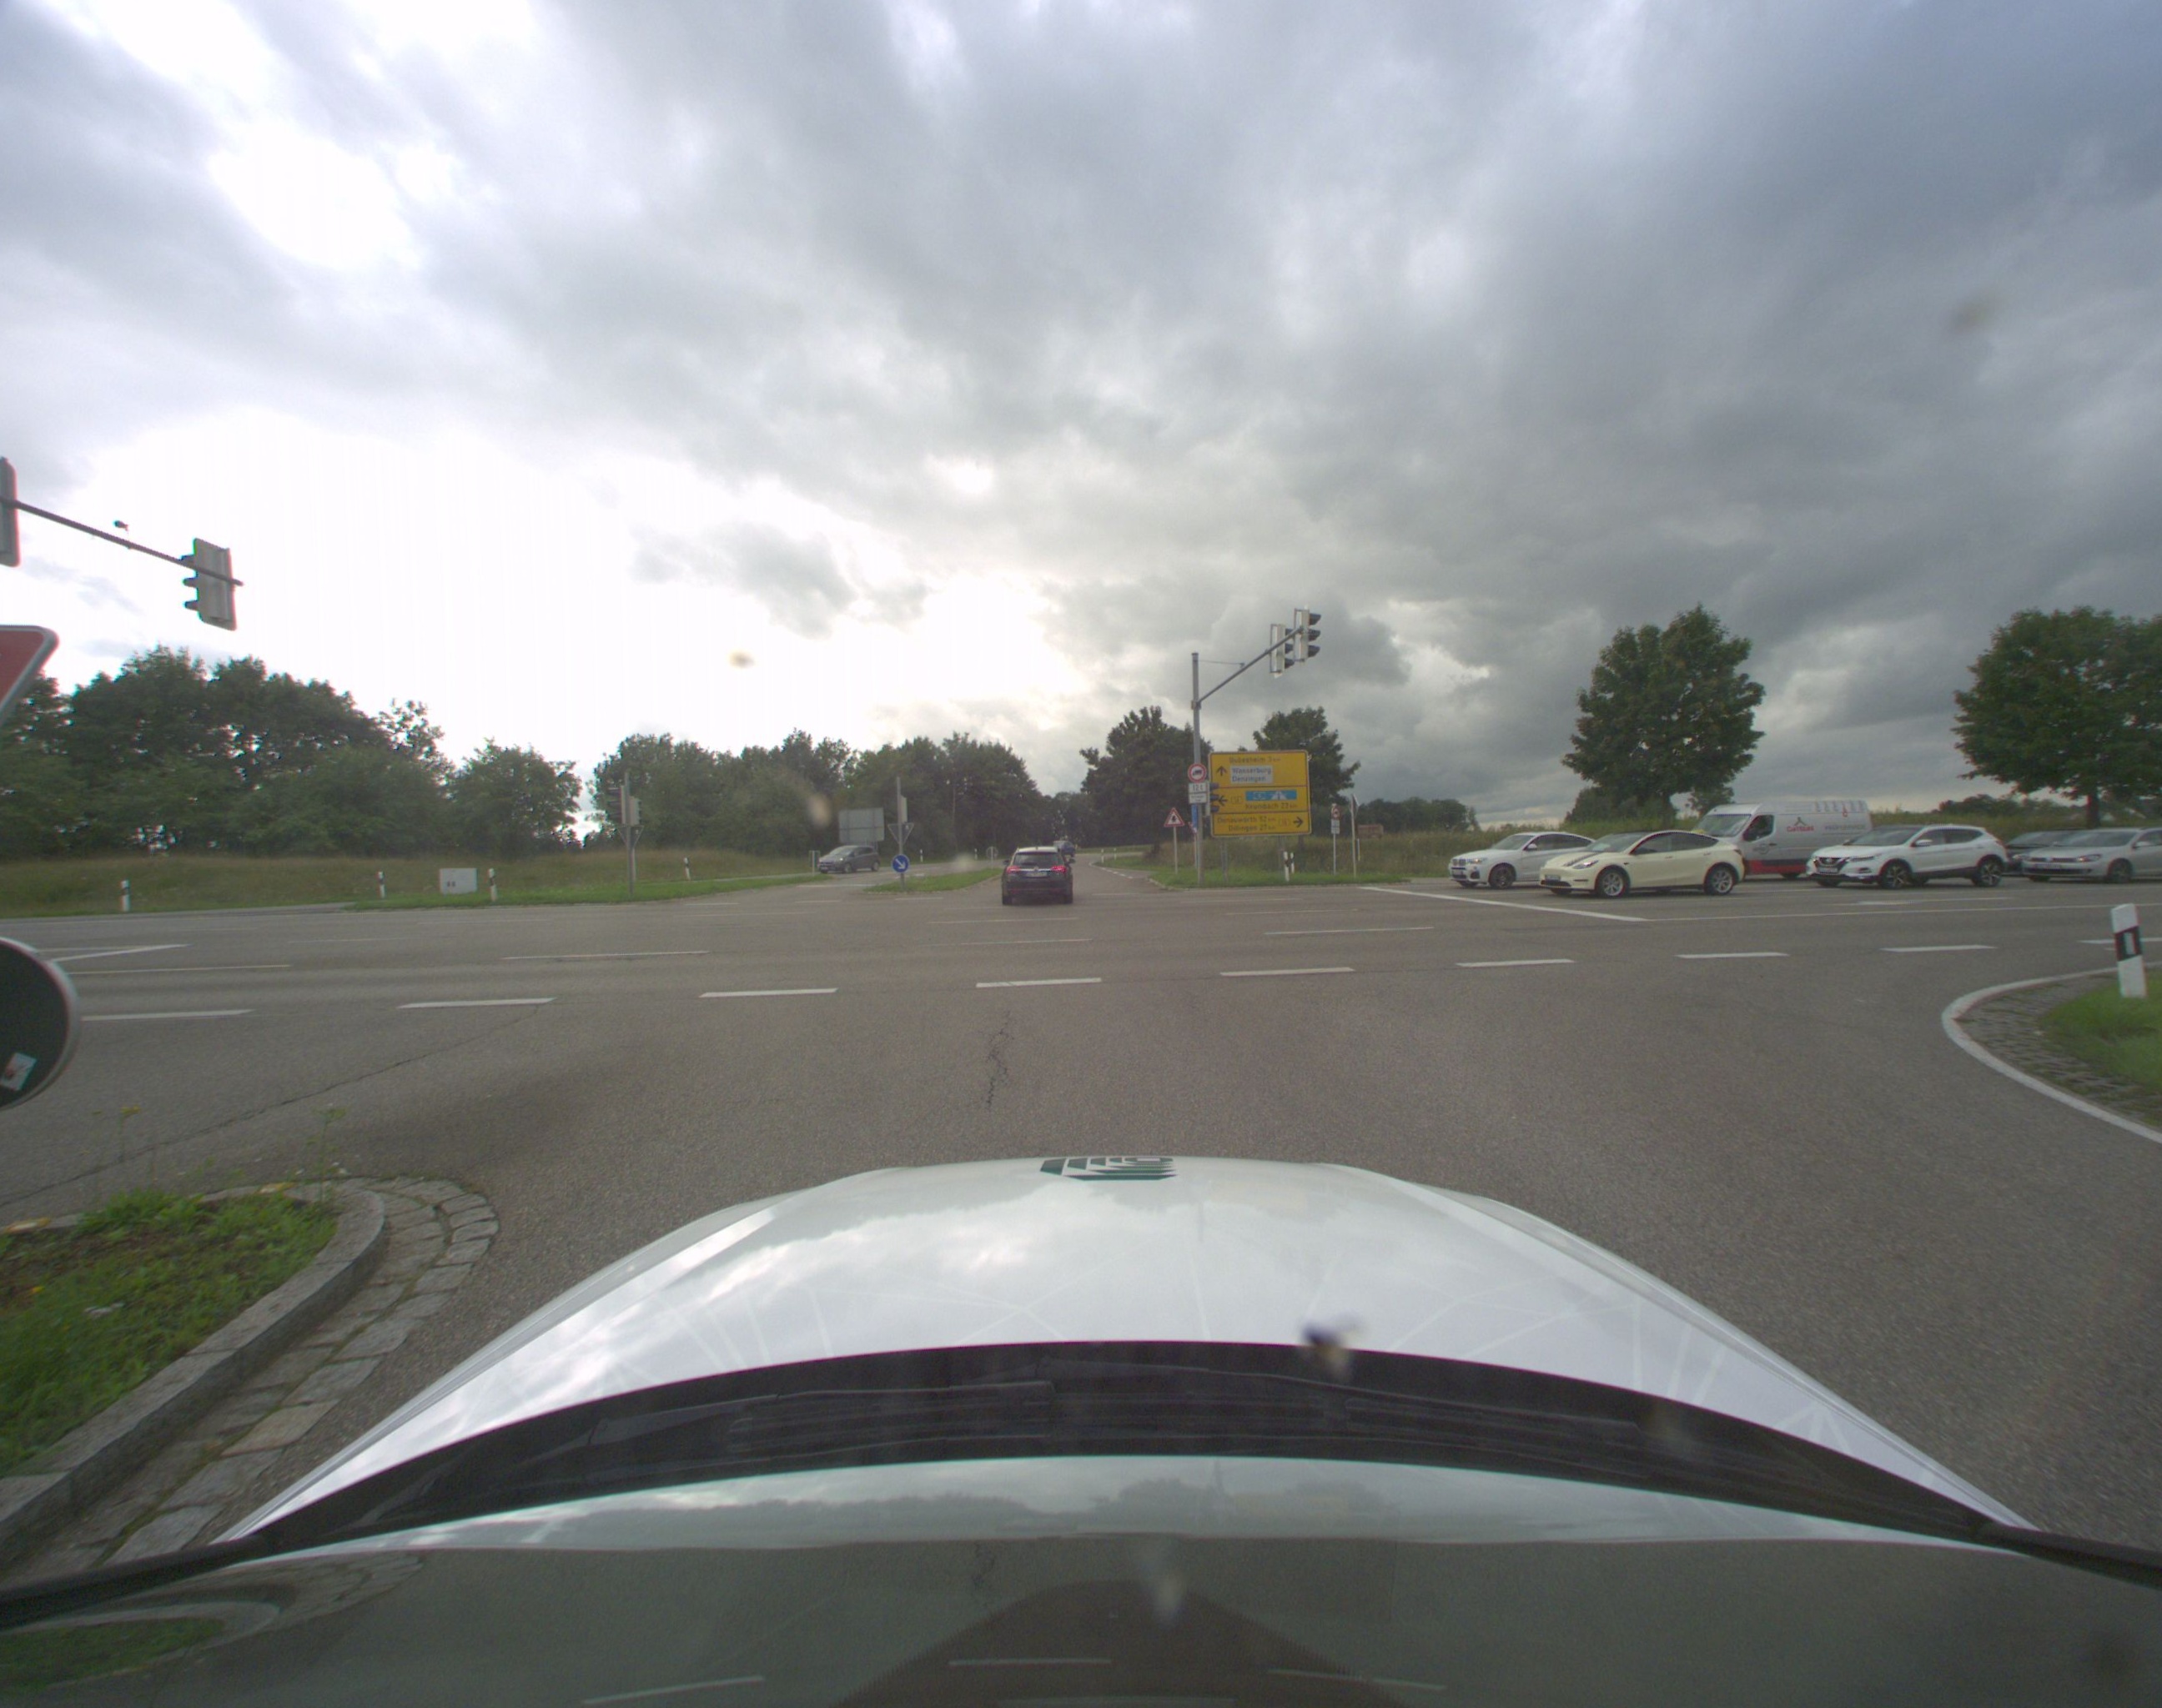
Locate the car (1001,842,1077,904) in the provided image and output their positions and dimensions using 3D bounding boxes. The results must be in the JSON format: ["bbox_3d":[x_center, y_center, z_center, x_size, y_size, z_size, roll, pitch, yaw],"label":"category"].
[{"bbox_3d":[-1.064,0.427,21.942,1.802,1.450,4.271,-1,1,-1],"label":"car"}]

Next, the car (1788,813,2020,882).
[{"bbox_3d":[21.394,-0.152,21.281,4.303,1.629,1.996,-1,-1,-6],"label":"car"}]

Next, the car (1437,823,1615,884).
[{"bbox_3d":[13.078,-0.015,24.087,4.256,1.629,1.995,-1,-1,-7],"label":"car"}]

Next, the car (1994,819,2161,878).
[{"bbox_3d":[27.793,-0.188,21.945,4.561,1.454,1.996,-1,1,-7],"label":"car"}]

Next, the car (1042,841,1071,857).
[{"bbox_3d":[-2.382,-0.514,80.623,1.981,1.570,4.770,-1,1,10],"label":"car"}]

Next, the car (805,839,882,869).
[{"bbox_3d":[-12.979,0.010,44.775,1.977,1.535,4.021,-1,0,21],"label":"car"}]

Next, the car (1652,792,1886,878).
[{"bbox_3d":[21.269,-0.559,25.345,5.486,2.442,2.394,-1,-1,-5],"label":"car"}]

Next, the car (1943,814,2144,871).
[{"bbox_3d":[29.963,-0.331,25.437,4.255,1.629,1.996,-1,-1,-6],"label":"car"}]

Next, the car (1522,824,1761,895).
[{"bbox_3d":[13.822,0.124,20.229,4.727,1.565,1.996,-1,-1,-6],"label":"car"}]
